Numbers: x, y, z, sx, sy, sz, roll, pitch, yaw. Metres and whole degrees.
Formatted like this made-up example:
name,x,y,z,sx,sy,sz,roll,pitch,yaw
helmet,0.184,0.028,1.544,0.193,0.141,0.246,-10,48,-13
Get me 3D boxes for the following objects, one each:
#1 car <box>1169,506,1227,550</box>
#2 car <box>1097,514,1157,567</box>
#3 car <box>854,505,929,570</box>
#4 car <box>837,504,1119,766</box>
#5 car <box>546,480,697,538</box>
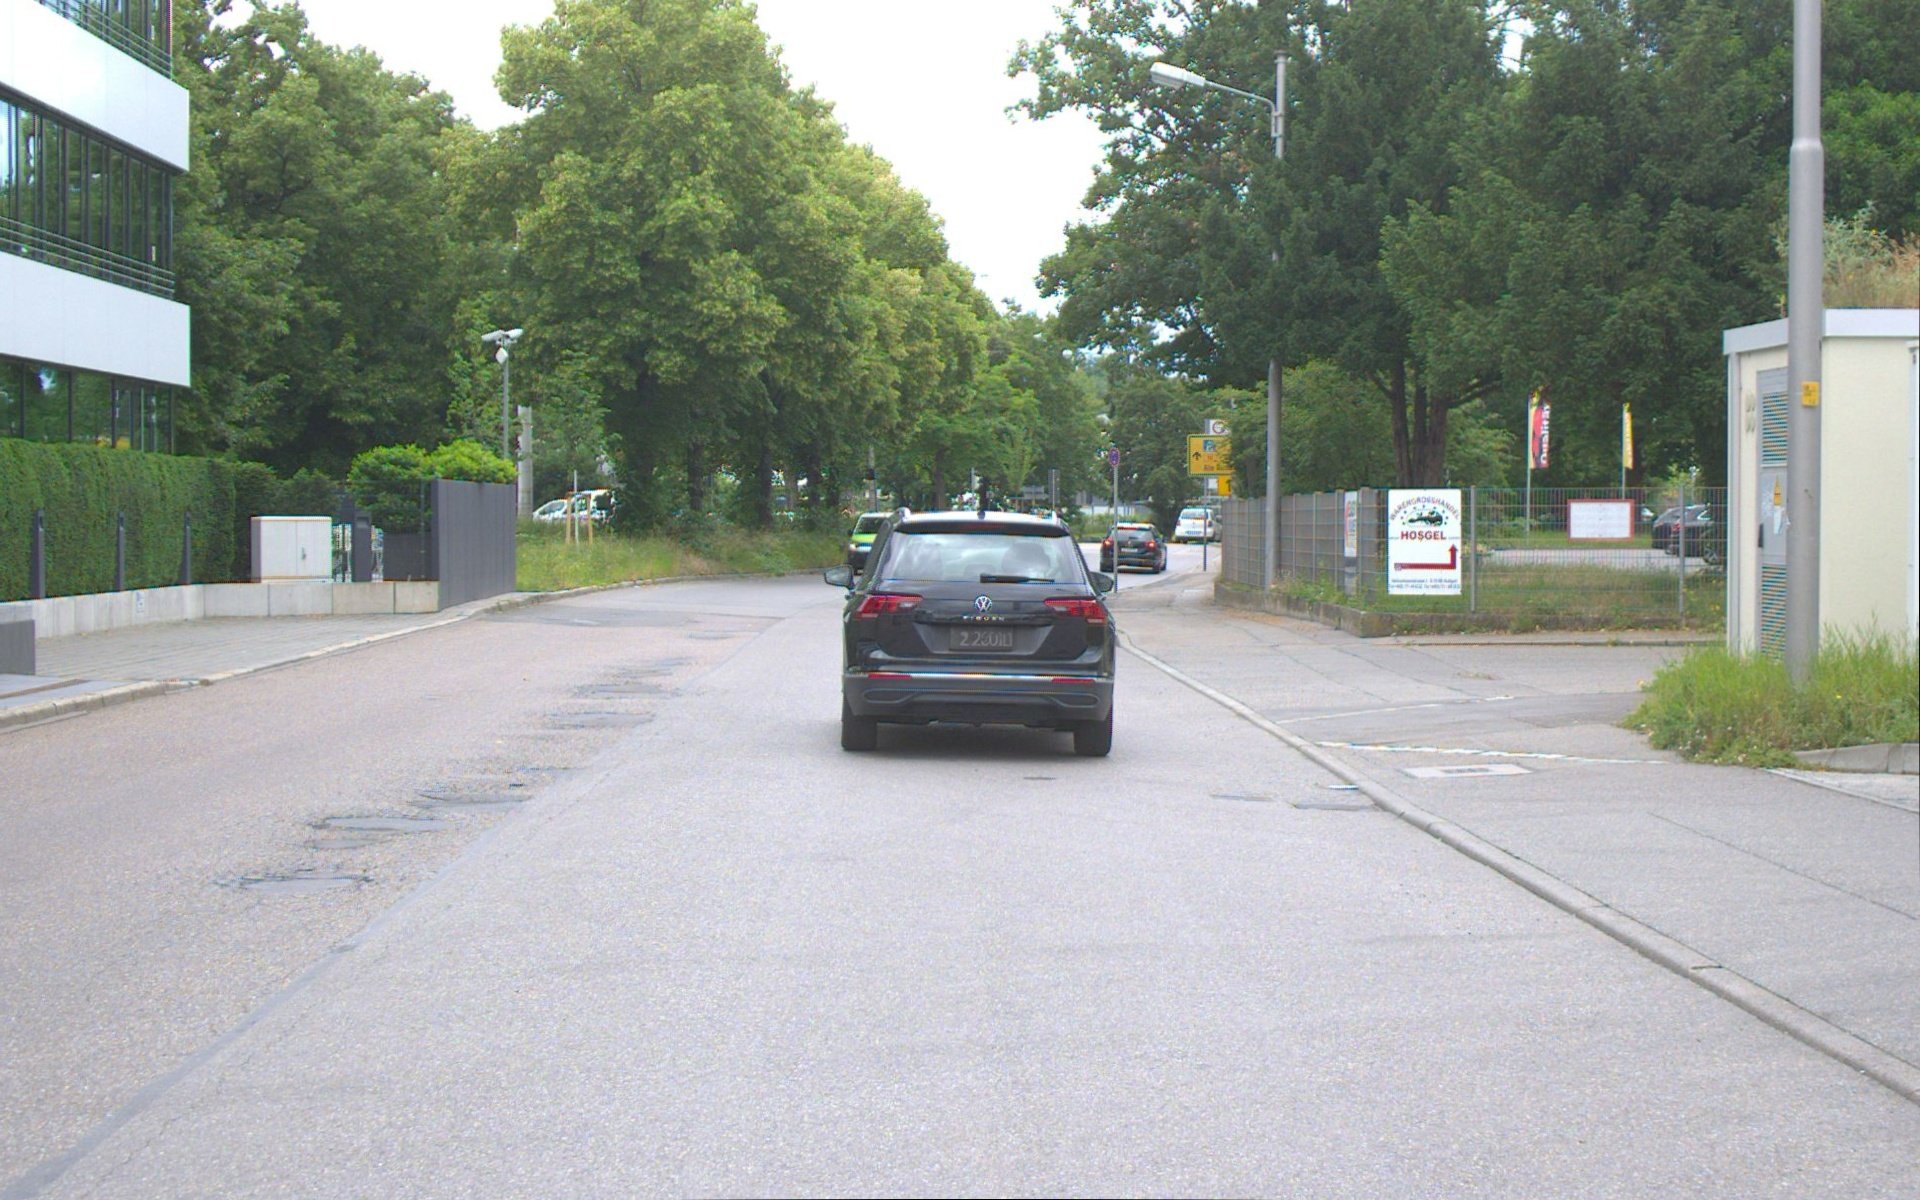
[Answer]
name,x,y,z,sx,sy,sz,roll,pitch,yaw
car,10.048,-3.051,145.094,1.994,1.780,3.999,1,1,10
car,5.020,-1.807,103.754,1.659,1.569,3.829,-1,1,1
car,-1.911,-1.768,97.280,1.808,1.758,4.205,1,1,3
car,0.159,0.195,23.777,1.739,1.612,3.641,2,1,1
car,-14.200,-3.828,144.418,6.071,2.379,2.395,0,2,2
